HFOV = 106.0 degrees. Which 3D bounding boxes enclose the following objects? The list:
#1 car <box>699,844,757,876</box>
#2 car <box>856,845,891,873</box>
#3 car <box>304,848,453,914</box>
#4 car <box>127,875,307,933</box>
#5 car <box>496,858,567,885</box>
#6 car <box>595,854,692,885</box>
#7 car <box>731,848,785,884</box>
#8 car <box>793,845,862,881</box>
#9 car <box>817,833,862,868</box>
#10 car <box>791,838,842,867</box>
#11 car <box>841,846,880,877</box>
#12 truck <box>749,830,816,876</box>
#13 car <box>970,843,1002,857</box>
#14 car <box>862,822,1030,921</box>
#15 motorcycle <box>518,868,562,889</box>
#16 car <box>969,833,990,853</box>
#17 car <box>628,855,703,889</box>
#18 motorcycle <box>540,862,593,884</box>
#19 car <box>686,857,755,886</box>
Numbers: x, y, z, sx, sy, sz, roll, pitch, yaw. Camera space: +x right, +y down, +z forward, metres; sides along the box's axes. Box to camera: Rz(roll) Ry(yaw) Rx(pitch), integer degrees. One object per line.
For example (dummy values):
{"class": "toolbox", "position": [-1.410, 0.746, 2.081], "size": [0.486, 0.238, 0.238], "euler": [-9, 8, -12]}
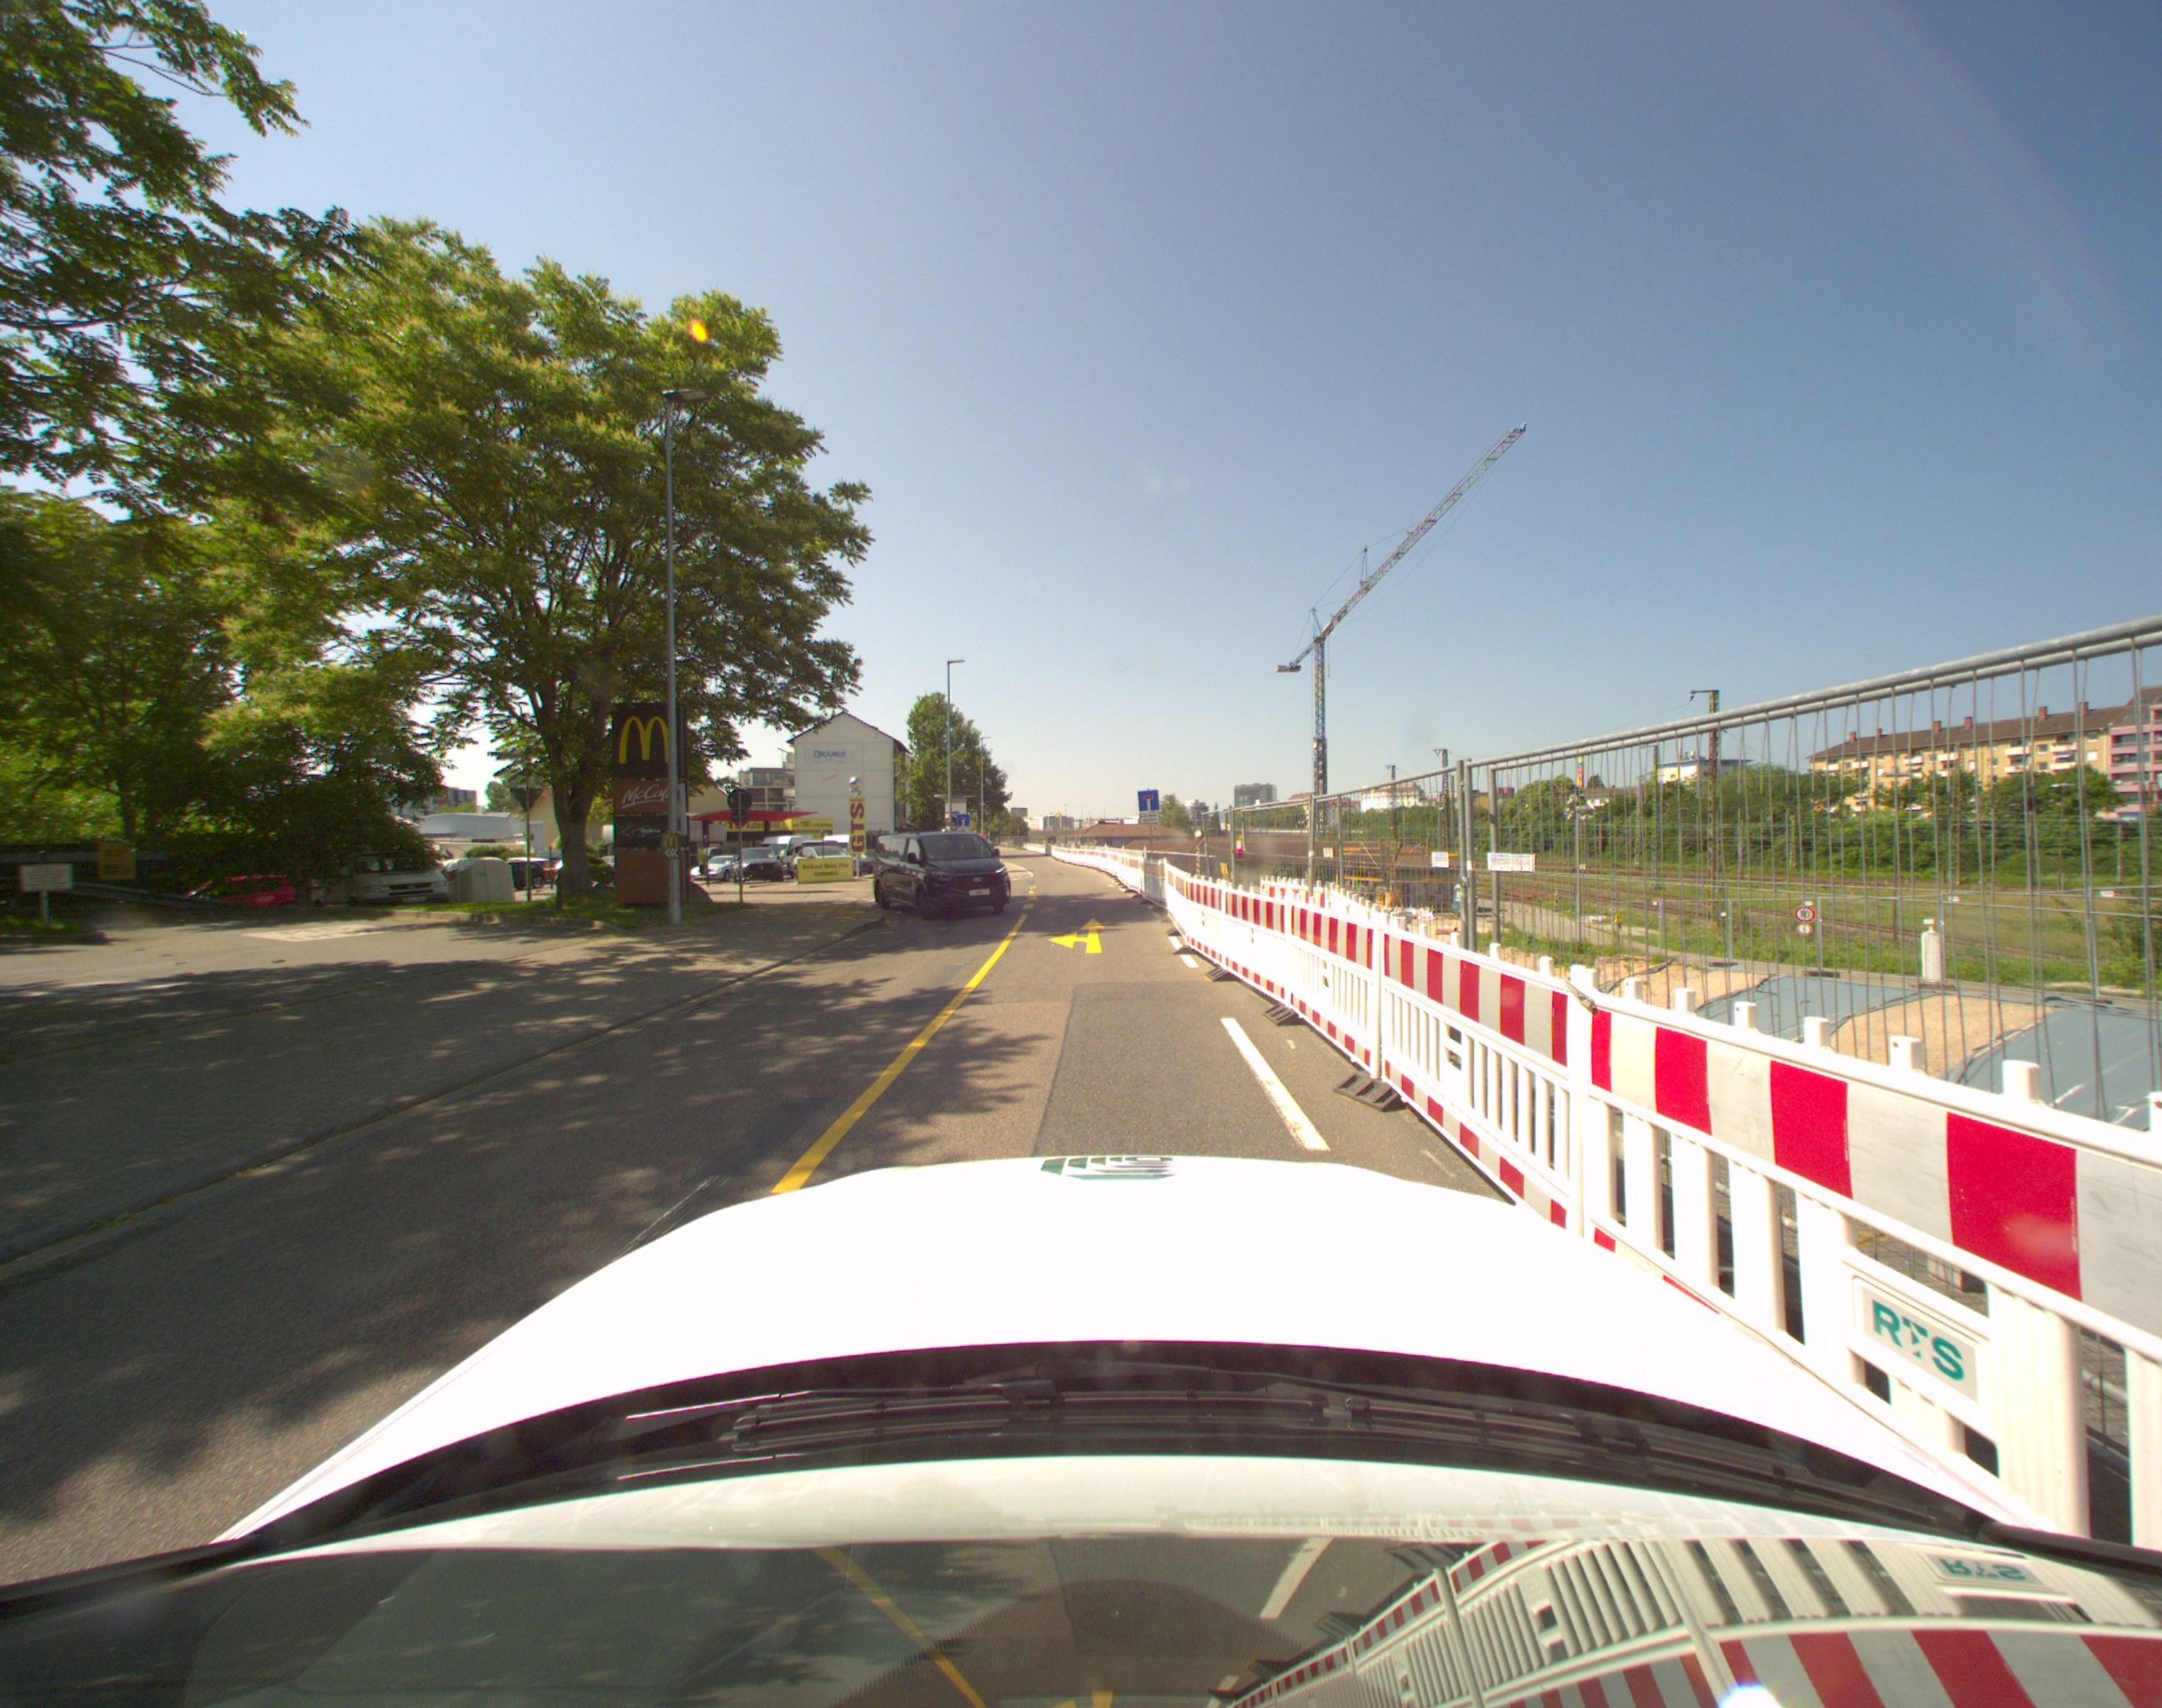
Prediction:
{"class": "car", "position": [-22.928, 0.361, 53.112], "size": [1.989, 2.013, 4.490], "euler": [0, 0, -3]}
{"class": "car", "position": [-13.058, 0.280, 51.060], "size": [1.862, 1.629, 3.976], "euler": [-1, 1, -18]}
{"class": "car", "position": [-19.034, 0.639, 21.991], "size": [4.966, 1.583, 1.970], "euler": [1, 0, 36]}
{"class": "car", "position": [-26.020, 1.447, 24.654], "size": [1.468, 1.378, 3.436], "euler": [1, 2, 27]}
{"class": "car", "position": [-34.443, 1.067, 51.041], "size": [3.950, 1.585, 2.012], "euler": [0, 0, 27]}
{"class": "car", "position": [-23.946, 0.810, 44.631], "size": [4.358, 1.585, 1.976], "euler": [0, 0, -42]}
{"class": "car", "position": [-15.422, 0.541, 38.735], "size": [2.057, 1.594, 4.385], "euler": [0, 0, -26]}
{"class": "car", "position": [-12.674, 0.418, 40.619], "size": [2.010, 1.725, 3.954], "euler": [0, 0, -38]}
{"class": "car", "position": [-16.996, -0.264, 57.590], "size": [2.132, 2.284, 4.703], "euler": [-1, 1, -5]}
{"class": "car", "position": [-16.677, -0.102, 51.561], "size": [1.873, 1.738, 4.718], "euler": [0, 0, -2]}
{"class": "car", "position": [-12.403, 0.369, 45.651], "size": [1.862, 1.629, 3.976], "euler": [-1, 1, -18]}
{"class": "truck", "position": [-19.659, -0.084, 53.935], "size": [2.262, 2.903, 5.941], "euler": [0, 0, -1]}
{"class": "car", "position": [-10.996, -0.464, 94.521], "size": [3.300, 1.637, 1.705], "euler": [0, 0, -45]}
{"class": "car", "position": [-3.506, 0.352, 20.075], "size": [2.191, 1.967, 5.391], "euler": [-5, 2, -30]}
{"class": "motorcycle", "position": [-30.373, 1.359, 45.731], "size": [0.779, 1.158, 1.886], "euler": [-1, 0, 37]}
{"class": "car", "position": [-13.473, -1.430, 108.334], "size": [2.532, 2.520, 5.112], "euler": [0, 0, -3]}
{"class": "car", "position": [-19.926, 0.823, 39.212], "size": [1.785, 1.510, 3.993], "euler": [0, 0, -5]}
{"class": "motorcycle", "position": [-31.035, 1.119, 49.192], "size": [0.988, 1.227, 2.731], "euler": [0, 0, 18]}
{"class": "car", "position": [-19.901, 0.938, 45.105], "size": [1.780, 1.487, 4.005], "euler": [0, 0, 5]}
